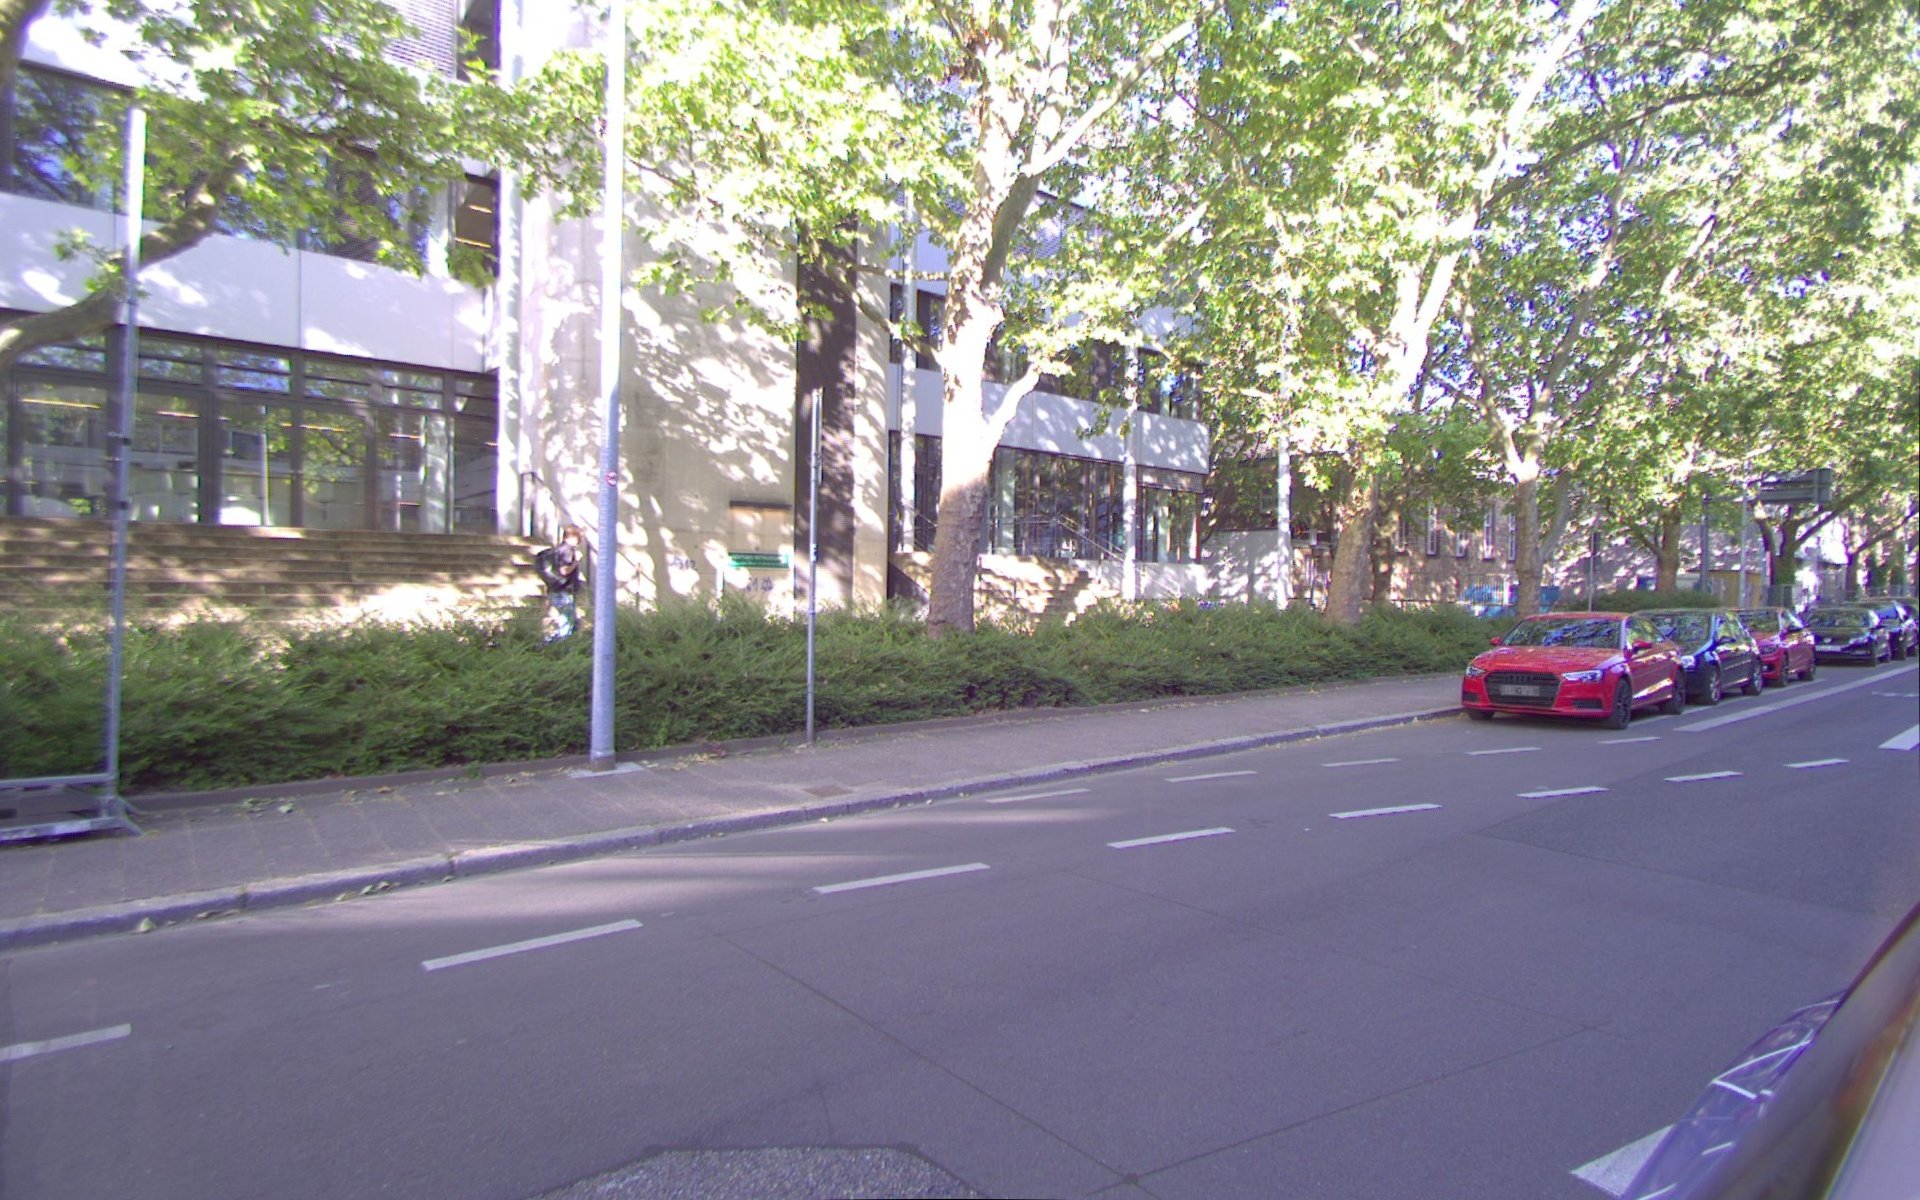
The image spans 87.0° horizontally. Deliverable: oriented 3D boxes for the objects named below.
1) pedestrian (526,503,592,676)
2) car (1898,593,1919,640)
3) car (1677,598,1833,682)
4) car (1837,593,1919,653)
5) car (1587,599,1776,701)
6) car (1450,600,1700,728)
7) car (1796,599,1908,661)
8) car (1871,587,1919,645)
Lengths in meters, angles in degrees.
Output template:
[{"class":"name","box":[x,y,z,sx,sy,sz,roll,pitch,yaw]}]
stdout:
[{"class":"pedestrian","box":[-4.881,-0.130,12.320,0.549,2.039,0.555,0,0,38]},{"class":"car","box":[35.531,0.570,36.797,4.497,1.633,1.632,-1,0,-41]},{"class":"car","box":[15.741,0.706,19.983,3.854,1.467,1.691,-1,0,-40]},{"class":"car","box":[26.630,0.601,29.056,4.158,1.598,1.632,-1,0,-41]},{"class":"car","box":[11.853,0.728,16.555,3.632,1.436,1.668,-1,0,-40]},{"class":"car","box":[8.299,0.734,13.525,3.931,1.409,1.792,-1,1,-42]},{"class":"car","box":[22.945,0.709,25.999,3.855,1.441,1.691,-1,0,-41]},{"class":"car","box":[31.168,0.470,33.026,4.497,1.814,1.632,-1,0,-41]}]
